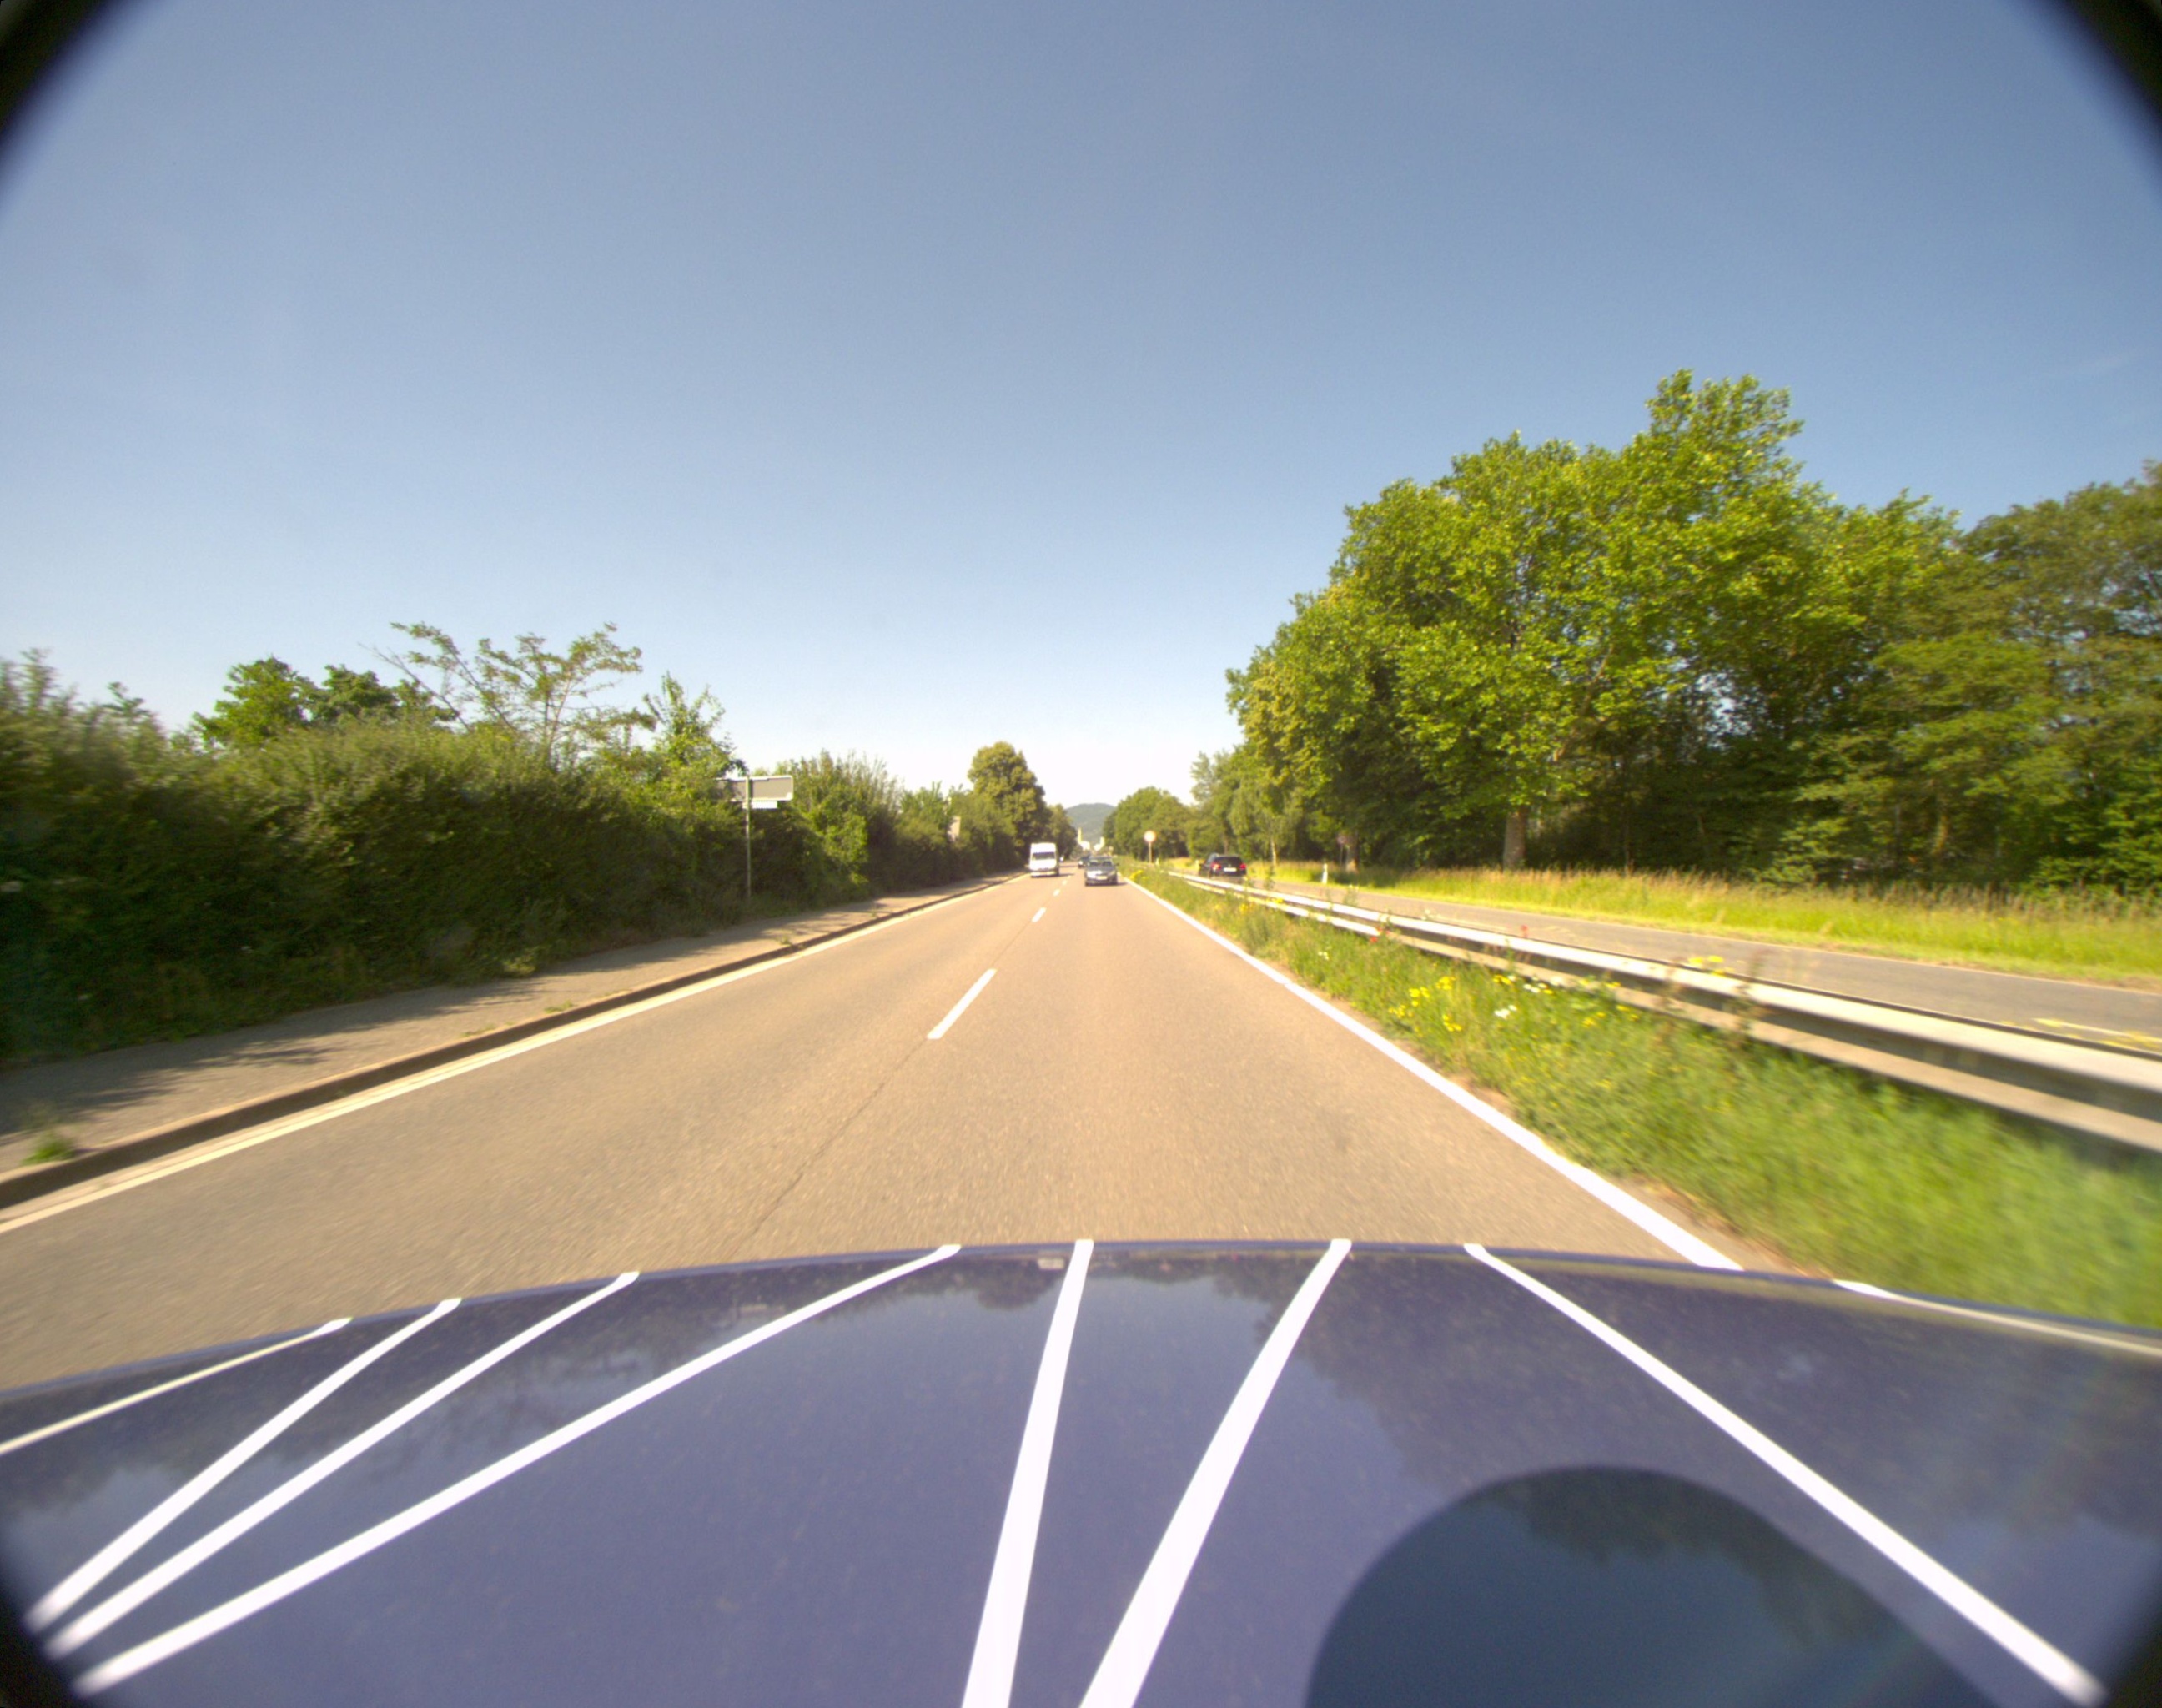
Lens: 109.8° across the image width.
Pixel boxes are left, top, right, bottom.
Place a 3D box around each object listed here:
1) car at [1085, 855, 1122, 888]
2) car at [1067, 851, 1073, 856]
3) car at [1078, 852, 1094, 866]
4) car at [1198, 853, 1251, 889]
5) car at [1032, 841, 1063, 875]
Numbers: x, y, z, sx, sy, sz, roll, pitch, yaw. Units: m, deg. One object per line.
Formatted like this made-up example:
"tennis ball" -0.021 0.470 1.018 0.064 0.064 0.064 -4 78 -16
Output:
"car" 1.091 0.800 37.320 1.678 1.435 4.361 -2 1 1
"car" -3.390 -0.242 244.424 1.825 1.591 4.000 0 0 1
"car" 0.587 0.559 85.410 1.678 1.435 3.621 -2 1 1
"car" 6.532 0.722 34.913 1.783 1.521 4.161 0 1 2
"car" -2.481 0.241 57.093 1.998 2.433 5.088 -2 1 1
